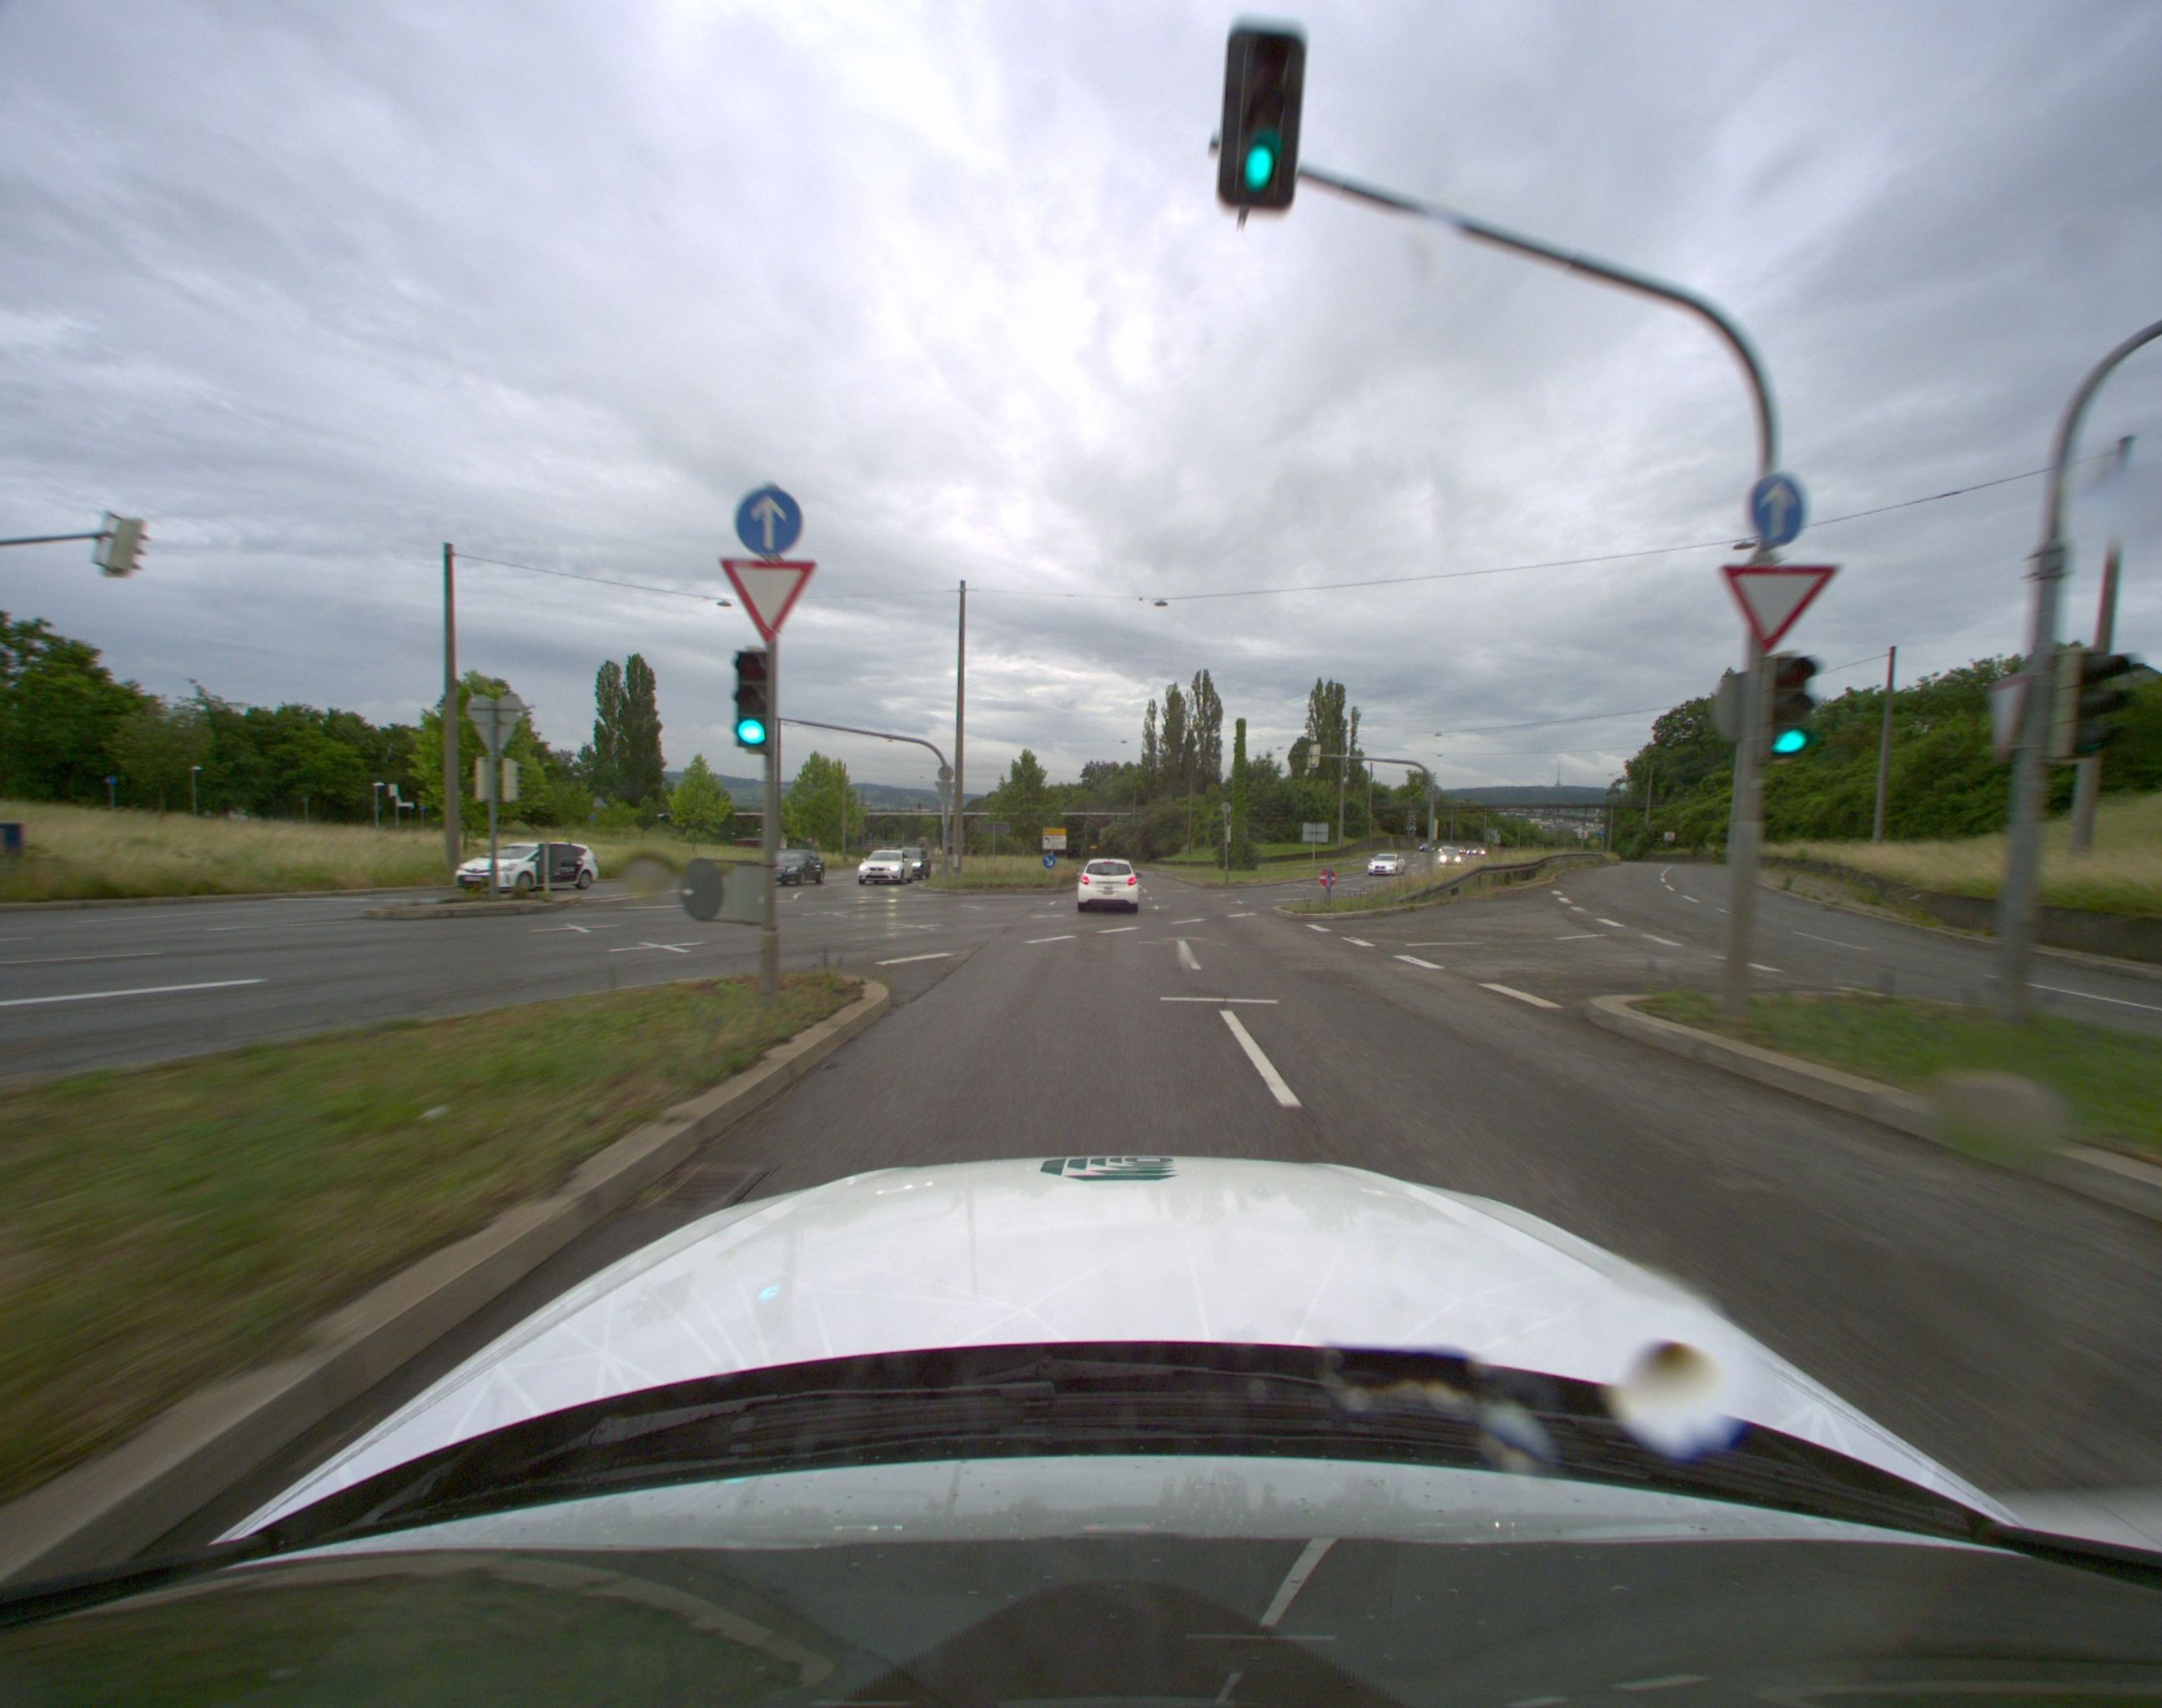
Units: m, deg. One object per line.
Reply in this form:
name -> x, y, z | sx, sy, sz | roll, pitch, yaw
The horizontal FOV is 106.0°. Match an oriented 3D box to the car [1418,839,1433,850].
car -> 55.194, -1.561, 130.403 | 1.861, 1.653, 4.150 | 3, 3, 27

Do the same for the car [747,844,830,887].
car -> -11.436, 0.476, 32.142 | 1.890, 1.537, 3.996 | 1, -1, -2

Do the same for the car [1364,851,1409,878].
car -> 21.183, 0.700, 56.471 | 1.975, 1.617, 4.026 | 3, 4, 34

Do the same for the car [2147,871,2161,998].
car -> 14.376, 1.074, 8.294 | 1.713, 1.649, 4.642 | 3, 0, 14

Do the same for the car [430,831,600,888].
car -> -17.744, 0.205, 25.882 | 1.877, 1.611, 4.680 | 2, -1, 3

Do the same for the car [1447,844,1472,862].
car -> 40.486, -0.137, 87.187 | 1.977, 1.617, 4.394 | 2, 3, 19

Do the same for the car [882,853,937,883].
car -> -8.608, 0.665, 41.149 | 1.889, 1.324, 4.000 | 1, 1, 0

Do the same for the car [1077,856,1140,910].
car -> 0.813, 0.808, 23.794 | 1.702, 1.440, 3.692 | 0, -1, 2

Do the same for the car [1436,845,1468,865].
car -> 34.905, 0.052, 76.647 | 1.975, 1.617, 4.400 | 3, 4, 34

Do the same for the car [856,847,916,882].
car -> -8.218, 0.469, 34.589 | 1.733, 1.373, 3.995 | 1, -1, -3
